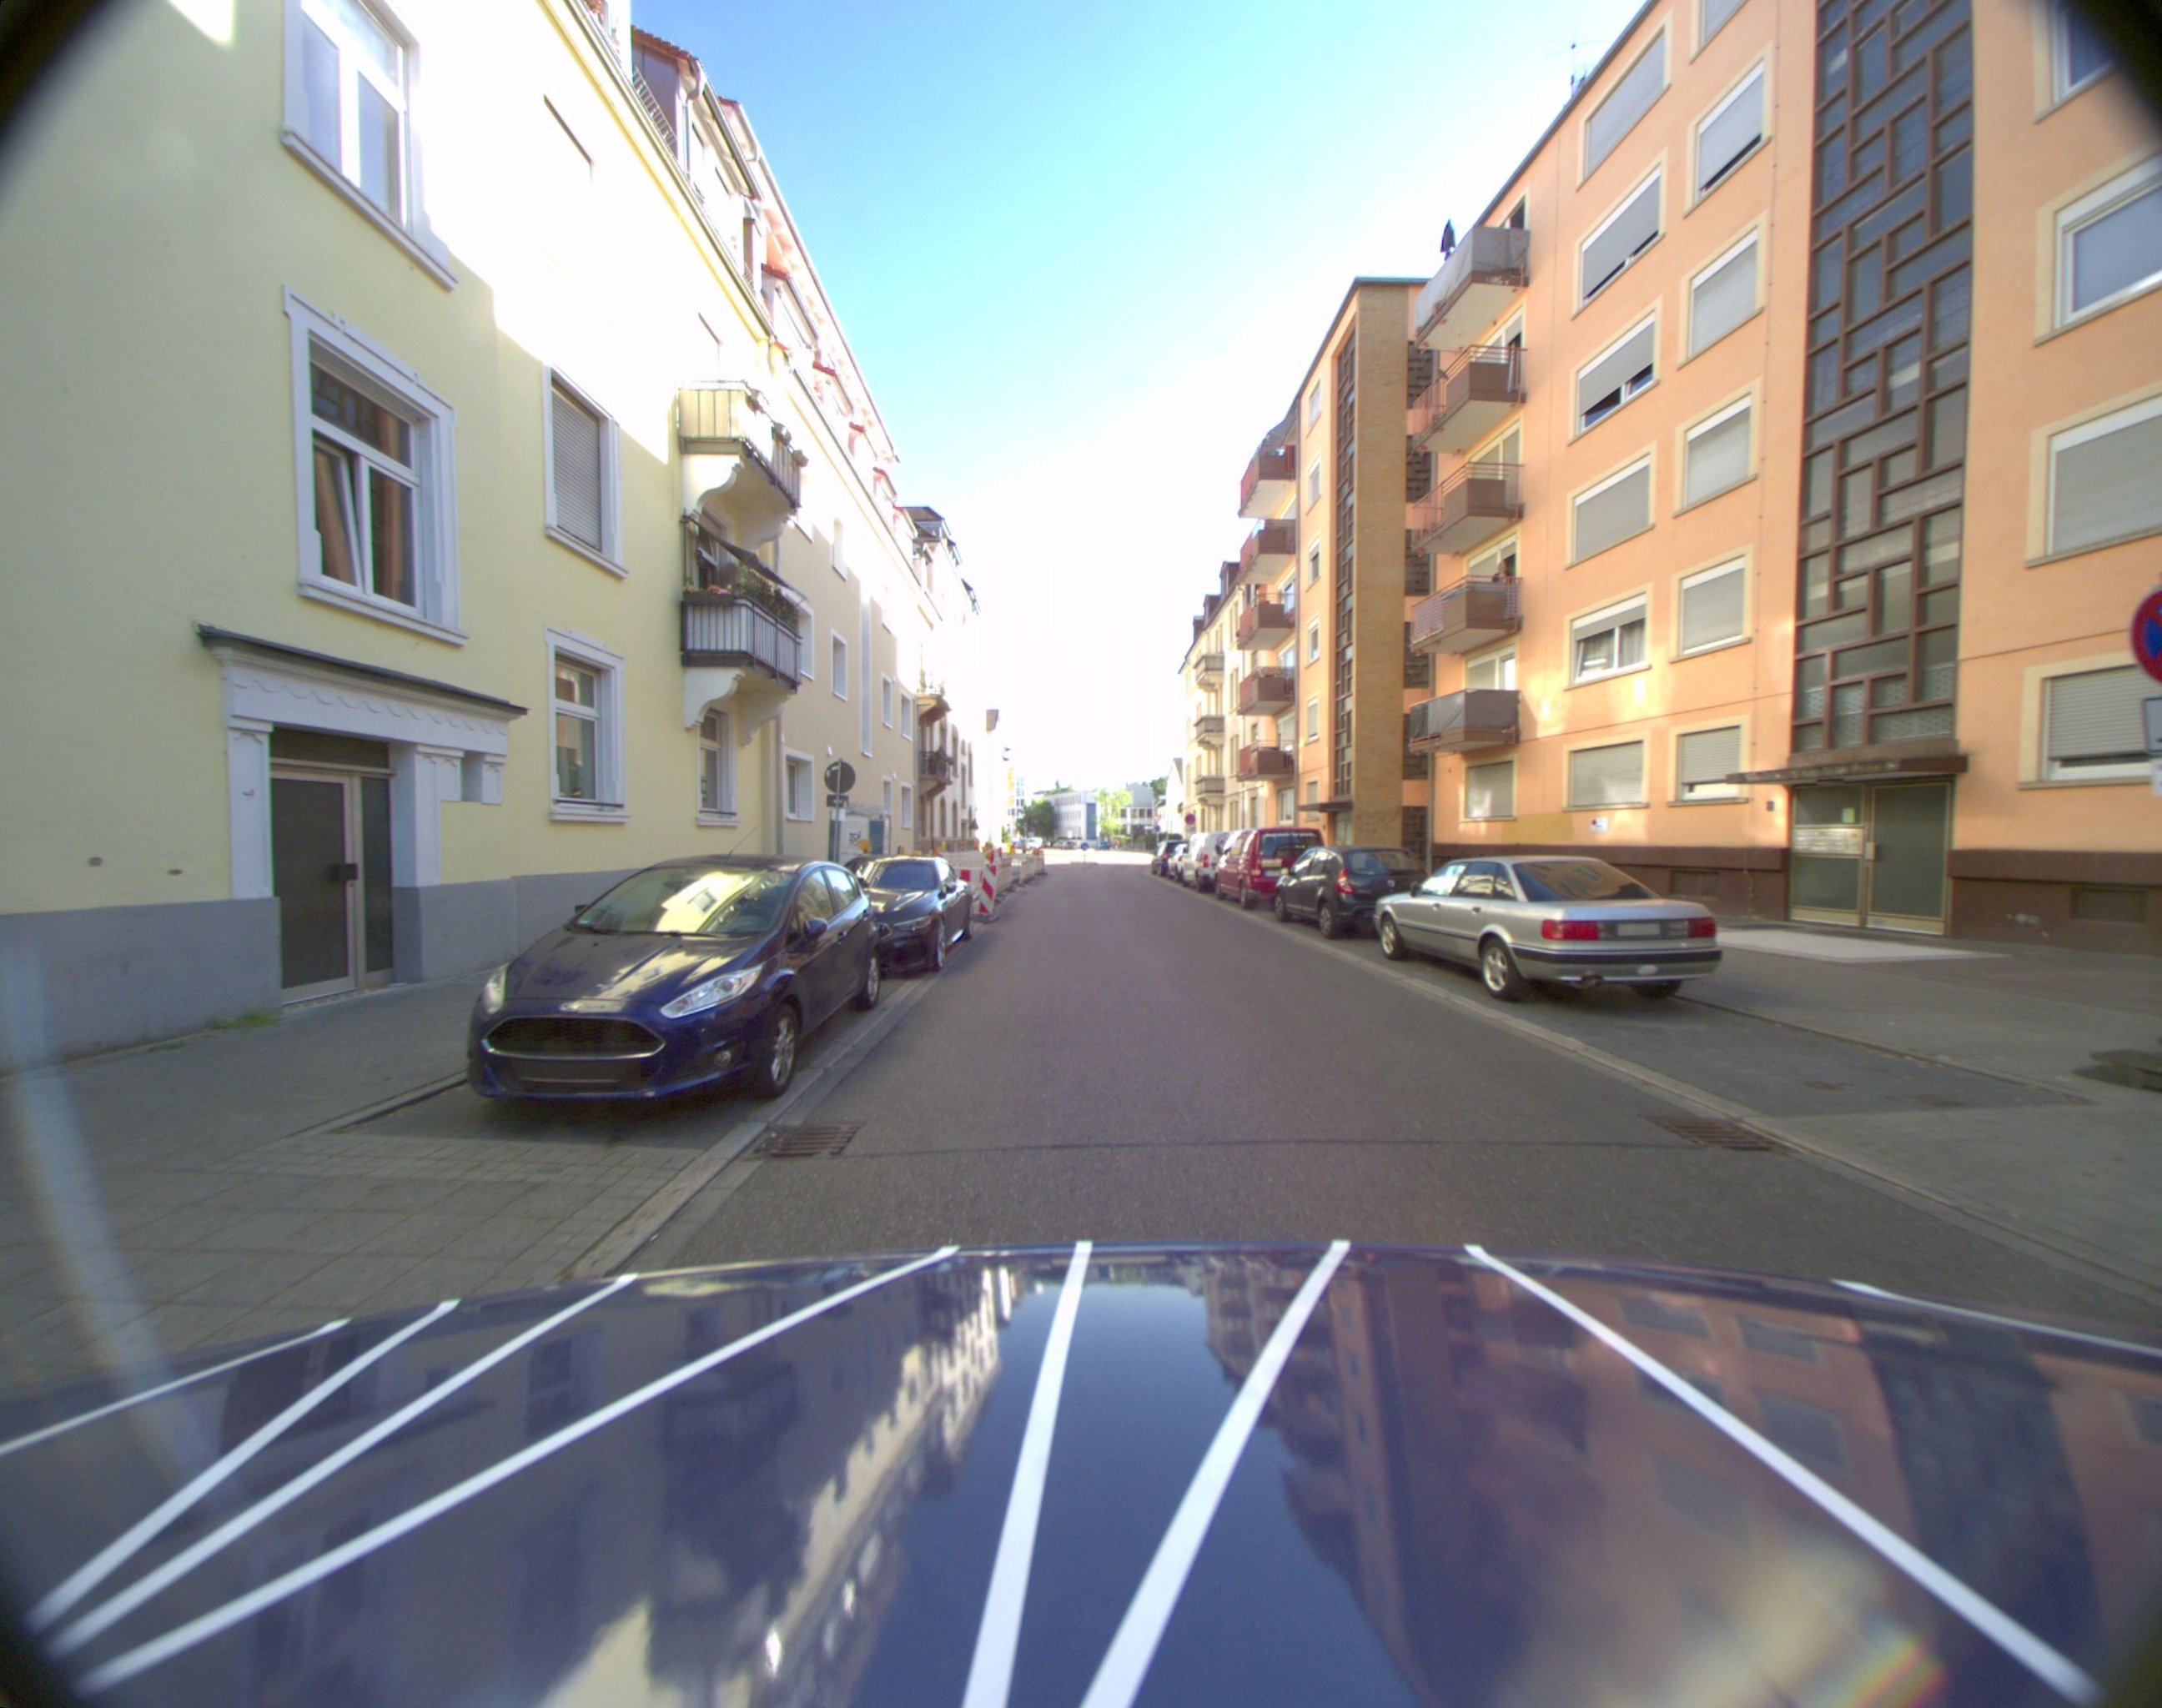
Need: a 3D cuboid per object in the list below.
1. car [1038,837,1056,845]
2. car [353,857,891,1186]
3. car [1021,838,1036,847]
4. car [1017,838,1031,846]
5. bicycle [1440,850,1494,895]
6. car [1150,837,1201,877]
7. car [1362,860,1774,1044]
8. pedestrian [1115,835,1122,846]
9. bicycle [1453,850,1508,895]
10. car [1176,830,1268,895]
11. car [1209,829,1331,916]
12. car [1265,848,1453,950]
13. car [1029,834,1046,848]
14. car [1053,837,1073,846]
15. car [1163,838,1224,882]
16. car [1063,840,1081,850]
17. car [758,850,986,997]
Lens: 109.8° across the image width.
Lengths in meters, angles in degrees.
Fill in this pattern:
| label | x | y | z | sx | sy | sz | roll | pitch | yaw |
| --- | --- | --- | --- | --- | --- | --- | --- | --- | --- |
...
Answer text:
| label | x | y | z | sx | sy | sz | roll | pitch | yaw |
| --- | --- | --- | --- | --- | --- | --- | --- | --- | --- |
| car | -7.026 | -2.626 | 155.670 | 2.141 | 1.604 | 4.825 | -2 | 2 | -21 |
| car | -2.728 | 0.844 | 5.733 | 1.768 | 1.462 | 4.082 | 2 | 1 | -4 |
| car | -9.562 | -2.134 | 137.955 | 1.760 | 1.445 | 3.993 | 4 | 1 | -15 |
| car | -10.748 | -2.235 | 142.296 | 1.760 | 1.445 | 3.993 | 3 | 1 | -16 |
| bicycle | 10.114 | 0.457 | 19.956 | 0.342 | 1.107 | 1.762 | 0 | 1 | -6 |
| car | 4.362 | 0.077 | 35.559 | 1.767 | 1.761 | 4.292 | -1 | 1 | -1 |
| car | 4.876 | 0.837 | 8.562 | 1.767 | 1.370 | 4.477 | -1 | 1 | 0 |
| pedestrian | 5.904 | -2.056 | 118.411 | 0.820 | 1.696 | 0.996 | -1 | 2 | -13 |
| bicycle | 10.499 | 0.451 | 20.010 | 0.342 | 1.107 | 1.762 | 0 | 1 | -6 |
| car | 4.511 | 0.191 | 25.158 | 1.981 | 1.914 | 5.307 | -1 | 1 | -1 |
| car | 4.583 | 0.354 | 19.220 | 1.767 | 1.914 | 4.933 | -1 | 1 | -1 |
| car | 4.718 | 0.672 | 13.574 | 1.767 | 1.494 | 3.998 | 1 | 1 | -2 |
| car | -6.392 | -1.900 | 112.146 | 1.998 | 2.002 | 4.796 | 3 | 1 | 1 |
| car | -3.468 | -2.464 | 146.486 | 2.141 | 1.604 | 4.825 | -2 | 2 | -23 |
| car | 4.465 | 0.191 | 30.756 | 1.767 | 1.612 | 4.293 | -1 | 1 | -1 |
| car | -1.533 | -1.592 | 131.285 | 1.882 | 1.686 | 4.265 | 0 | 1 | -20 |
| car | -2.610 | 0.753 | 10.867 | 1.805 | 1.462 | 5.110 | 2 | 1 | 0 |
